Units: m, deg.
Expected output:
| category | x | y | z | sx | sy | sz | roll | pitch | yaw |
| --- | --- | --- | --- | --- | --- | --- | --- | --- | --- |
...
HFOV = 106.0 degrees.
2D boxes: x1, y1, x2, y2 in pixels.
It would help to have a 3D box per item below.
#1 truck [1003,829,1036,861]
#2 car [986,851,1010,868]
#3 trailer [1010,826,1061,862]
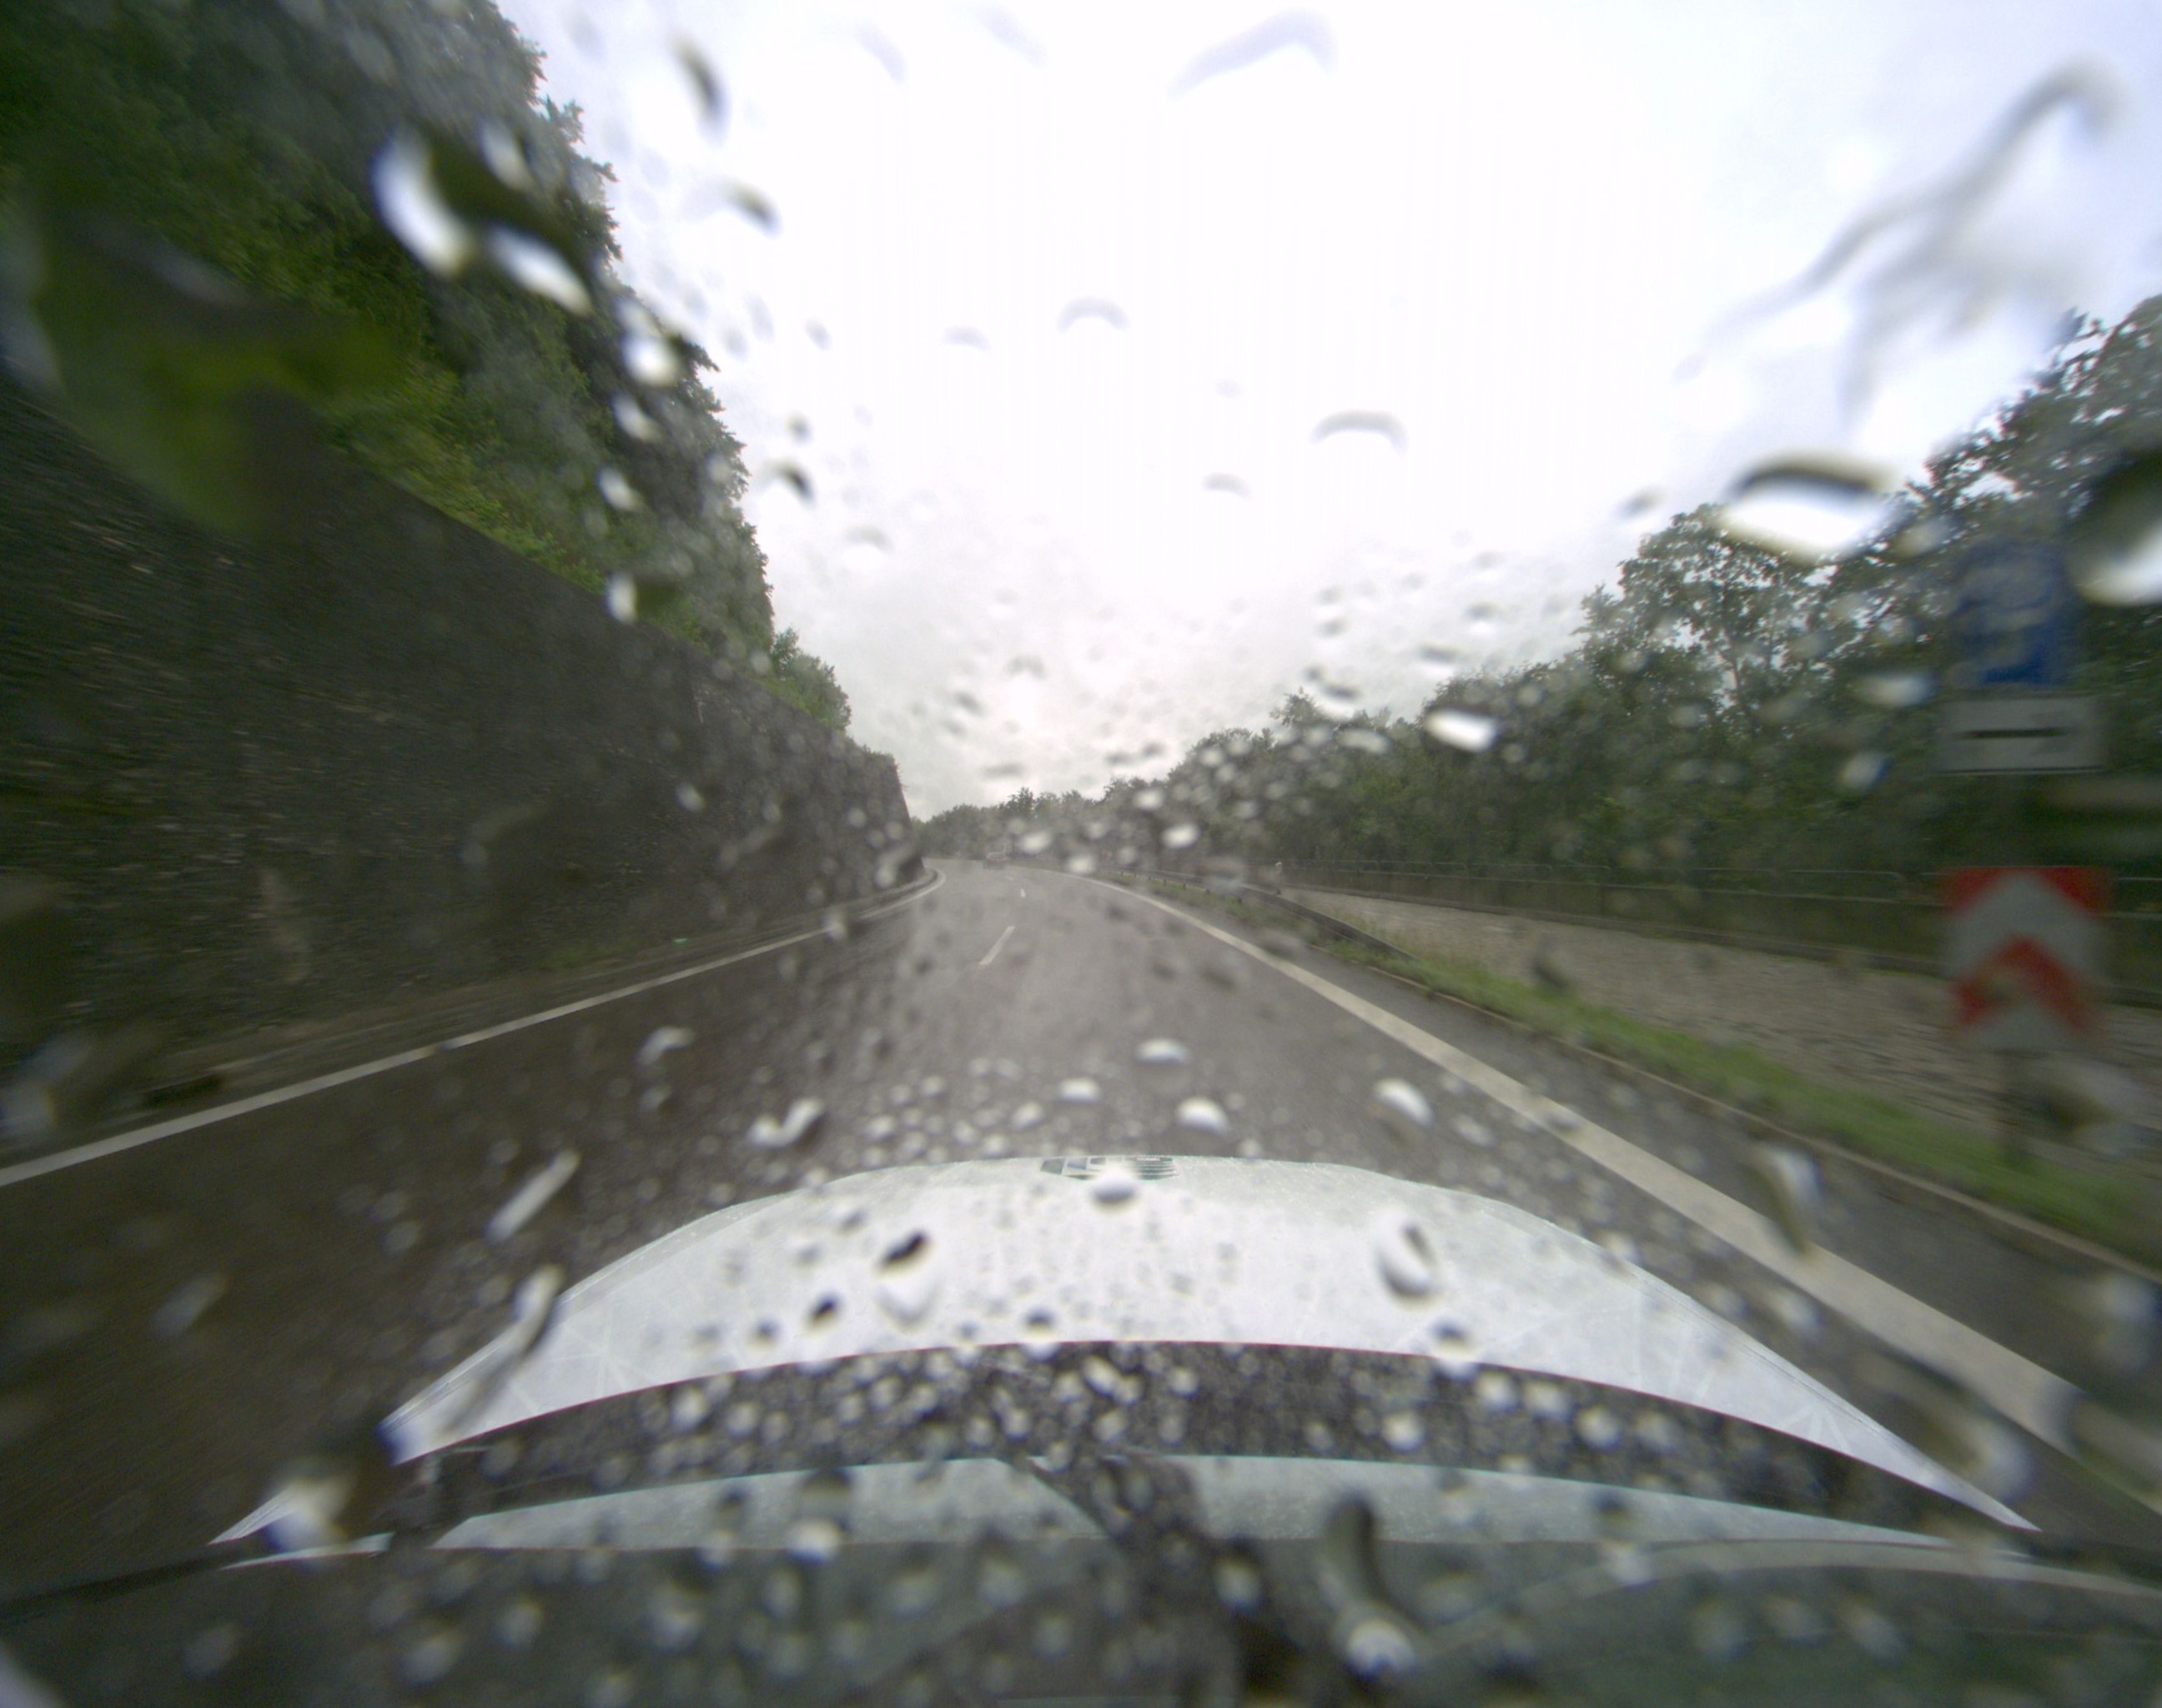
| category | x | y | z | sx | sy | sz | roll | pitch | yaw |
| --- | --- | --- | --- | --- | --- | --- | --- | --- | --- |
| truck | -8.388 | -1.195 | 109.933 | 2.904 | 4.245 | 6.840 | 0 | 0 | -18 |
| car | -7.808 | 0.489 | 76.257 | 1.904 | 1.499 | 3.986 | 2 | 0 | -10 |
| trailer | -5.836 | -1.163 | 101.793 | 2.899 | 4.245 | 14.611 | 0 | 0 | -17 |
